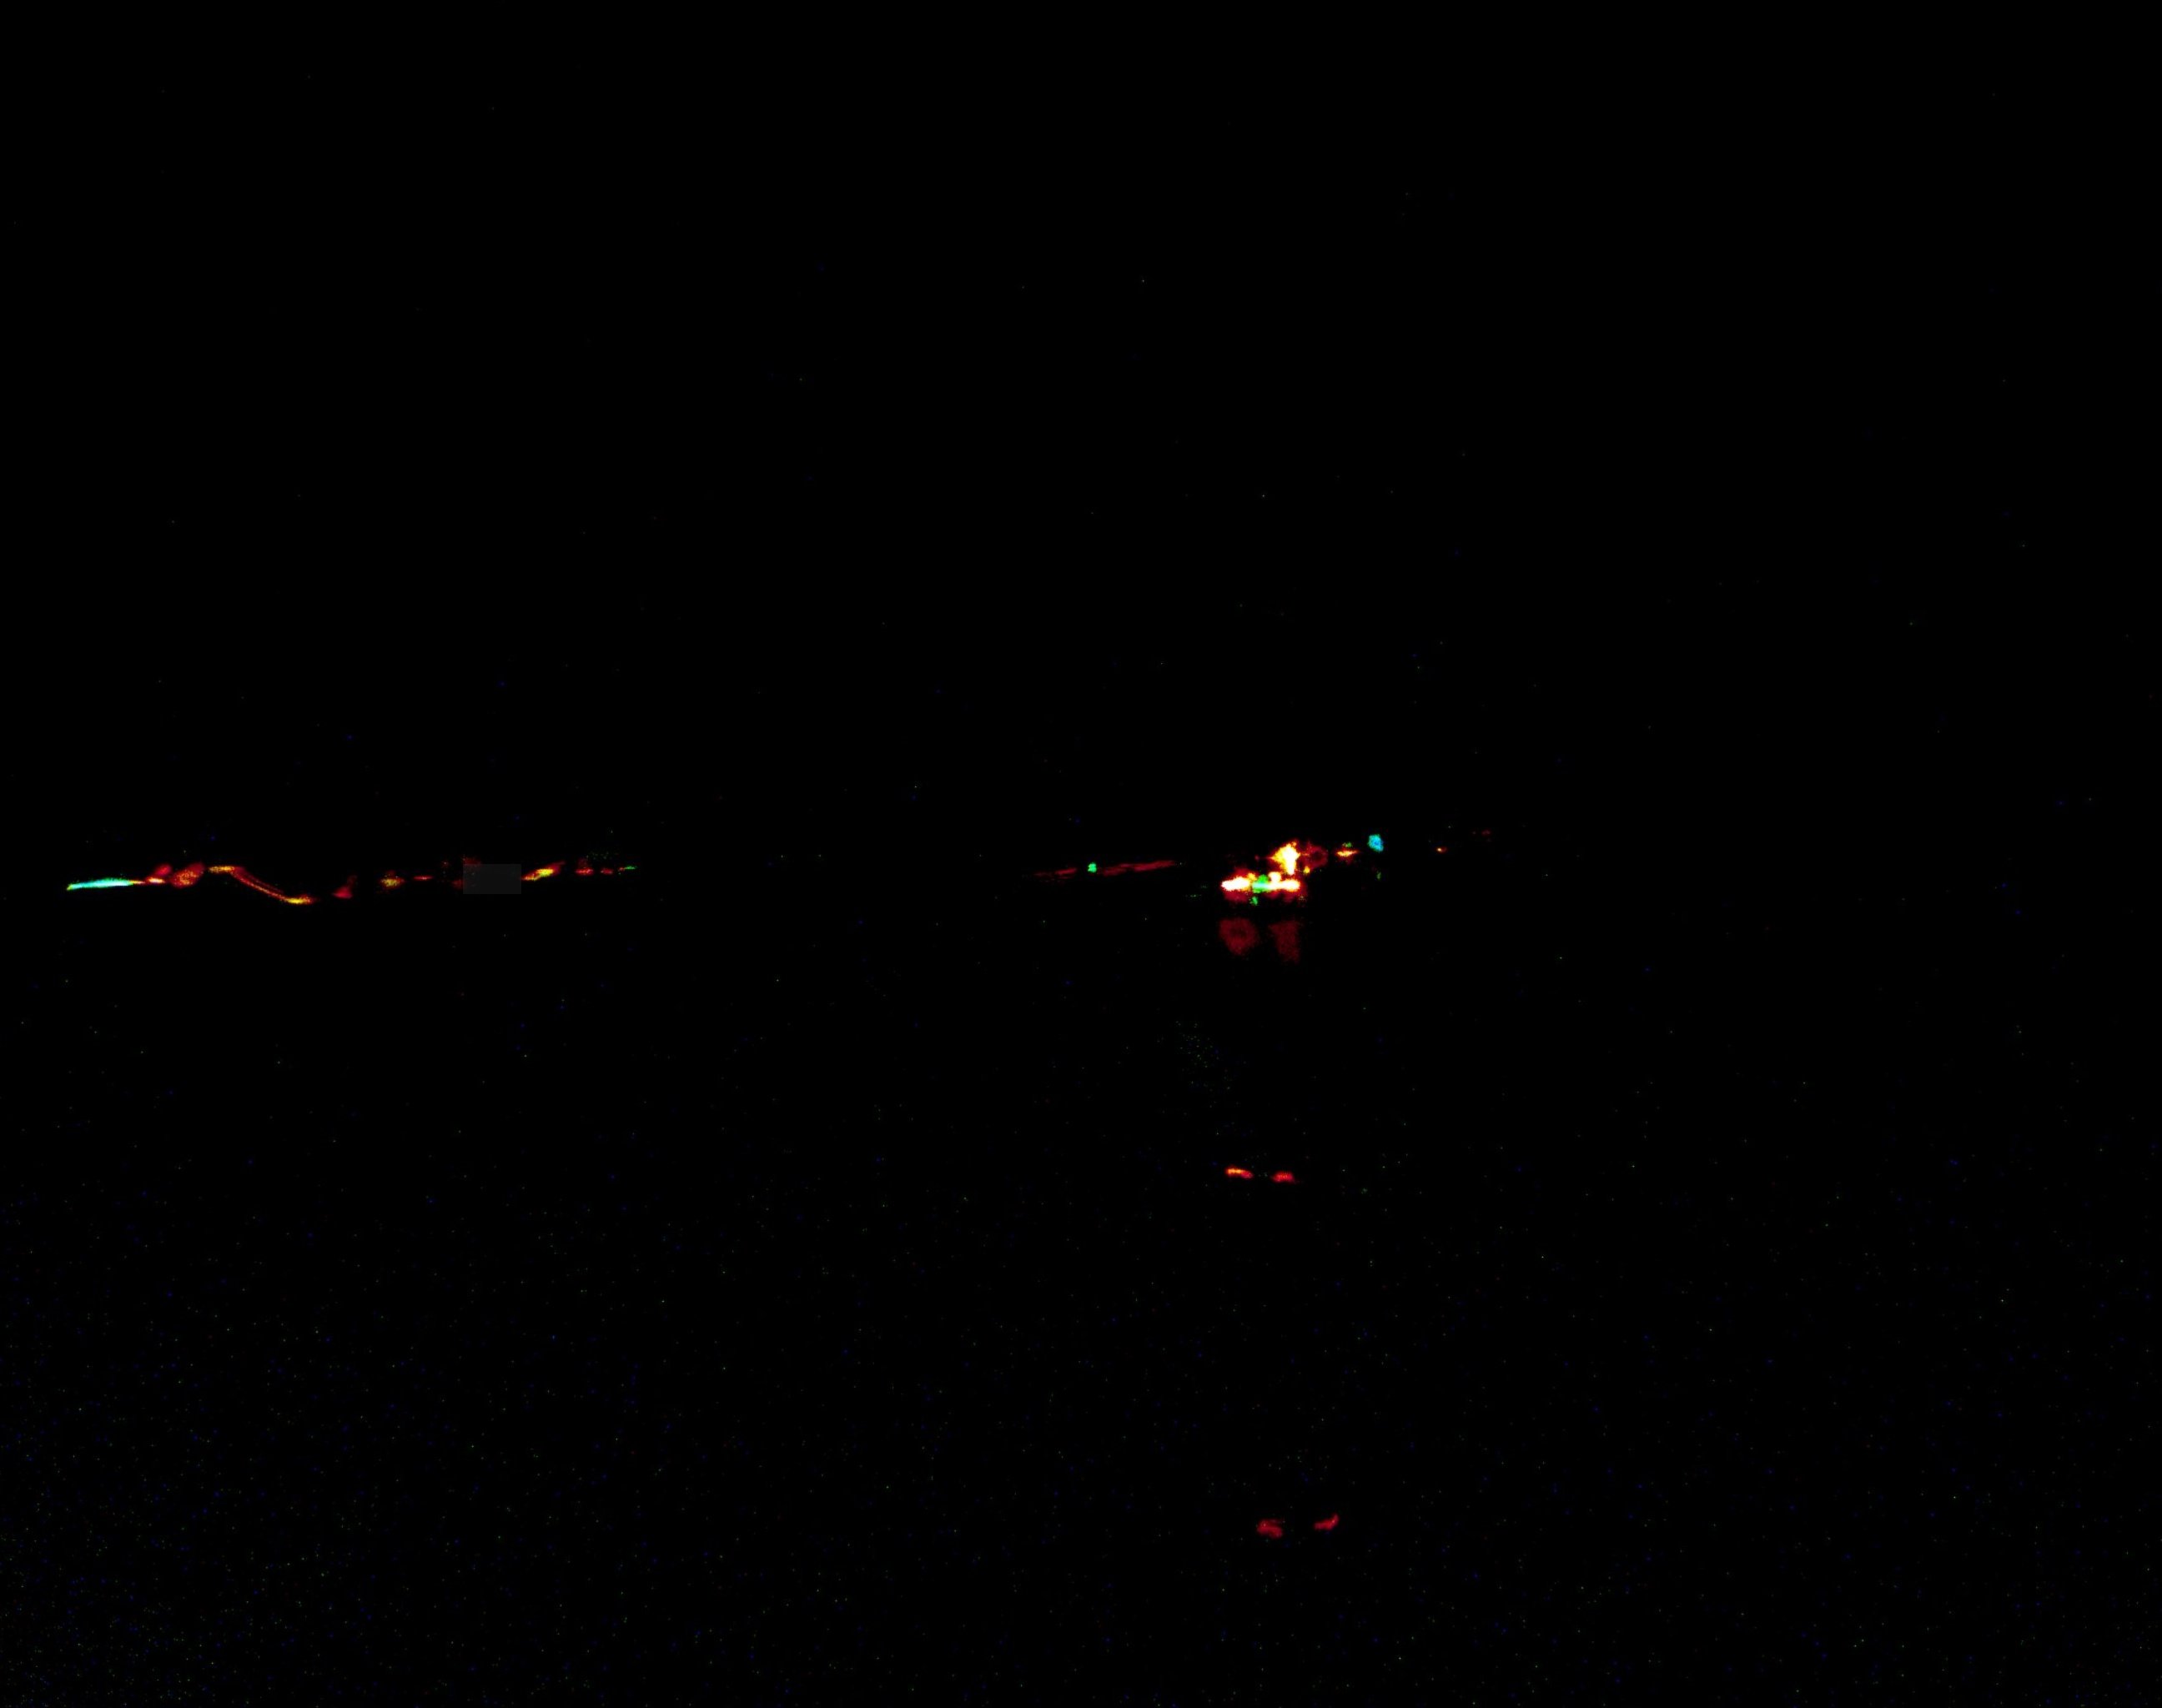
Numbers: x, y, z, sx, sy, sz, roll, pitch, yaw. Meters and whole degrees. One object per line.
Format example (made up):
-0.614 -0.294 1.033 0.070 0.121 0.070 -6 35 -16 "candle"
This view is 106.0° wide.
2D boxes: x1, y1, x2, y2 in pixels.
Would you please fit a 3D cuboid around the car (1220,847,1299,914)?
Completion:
4.721 0.642 22.027 1.850 1.647 4.079 0 0 9 "car"

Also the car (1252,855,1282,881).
12.930 0.957 56.409 1.847 1.708 4.084 2 -1 15 "car"

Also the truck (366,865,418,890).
-63.129 2.134 74.750 2.005 2.014 7.189 2 -1 -28 "truck"

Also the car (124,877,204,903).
-57.244 2.189 50.929 1.769 1.518 4.208 1 -1 -26 "car"

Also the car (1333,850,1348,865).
35.253 0.517 110.544 1.880 1.998 4.065 -1 0 19 "car"

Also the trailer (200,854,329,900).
-46.025 1.183 46.295 2.003 2.282 9.577 2 -1 -26 "trailer"

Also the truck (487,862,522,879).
-80.554 2.230 113.880 2.002 2.266 9.243 0 0 -23 "truck"

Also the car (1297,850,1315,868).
25.601 0.558 92.538 1.880 2.040 4.063 -1 0 17 "car"

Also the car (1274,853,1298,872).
19.285 0.769 76.500 1.880 1.720 4.063 -1 0 17 "car"
